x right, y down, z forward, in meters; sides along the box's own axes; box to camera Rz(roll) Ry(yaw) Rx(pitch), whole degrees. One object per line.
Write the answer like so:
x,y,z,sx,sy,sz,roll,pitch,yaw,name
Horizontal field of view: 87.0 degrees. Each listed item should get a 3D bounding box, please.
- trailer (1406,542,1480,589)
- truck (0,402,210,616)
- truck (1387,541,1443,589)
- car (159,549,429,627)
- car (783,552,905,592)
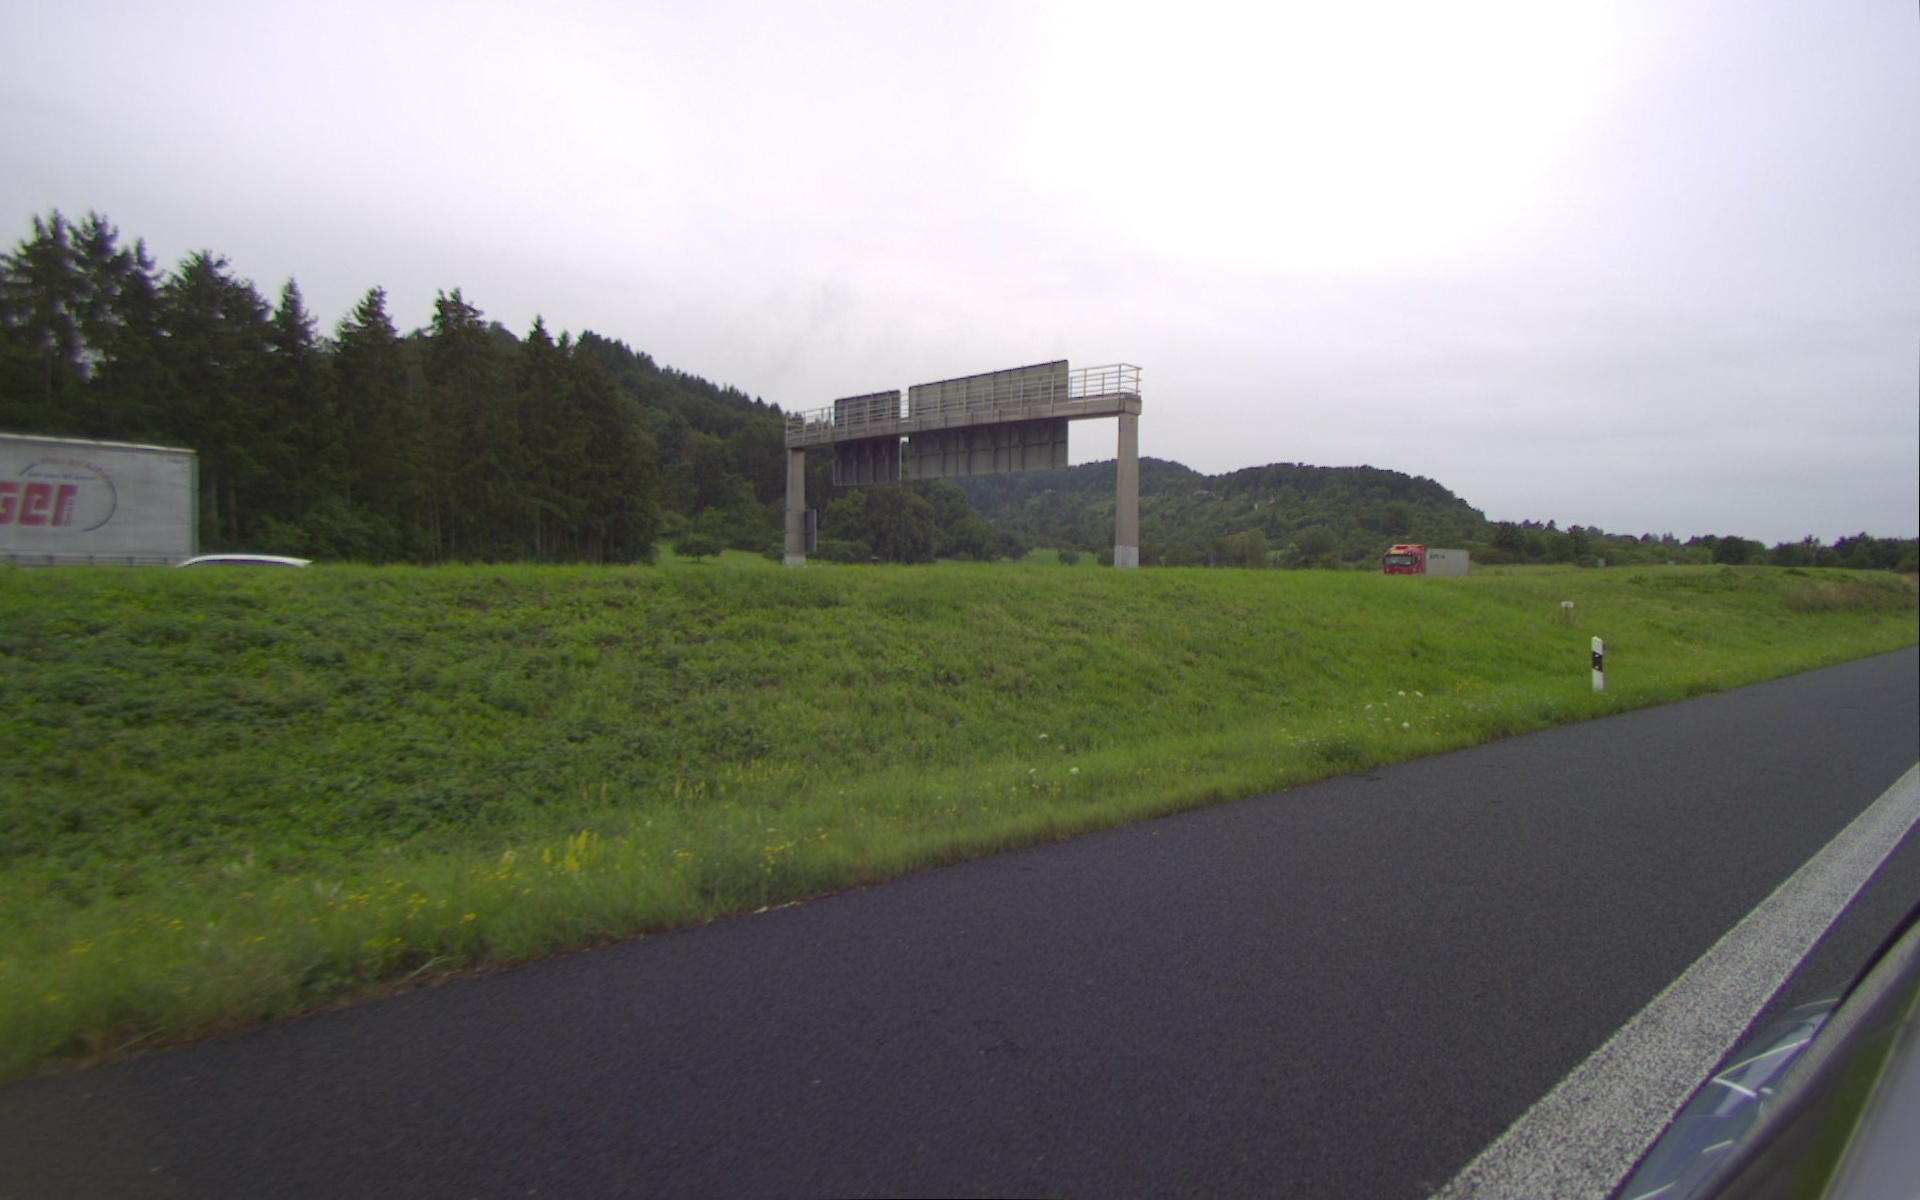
44.383,-3.016,92.731,2.490,4.034,12.210,0,0,43,trailer
-25.134,-1.940,19.666,3.819,4.597,16.626,1,1,42,truck
39.461,-2.958,87.632,2.509,4.037,5.832,0,0,45,truck
-15.510,-0.294,23.785,1.993,1.636,5.001,2,2,43,car
-4.655,-1.105,41.135,1.819,1.522,4.954,2,1,42,car
